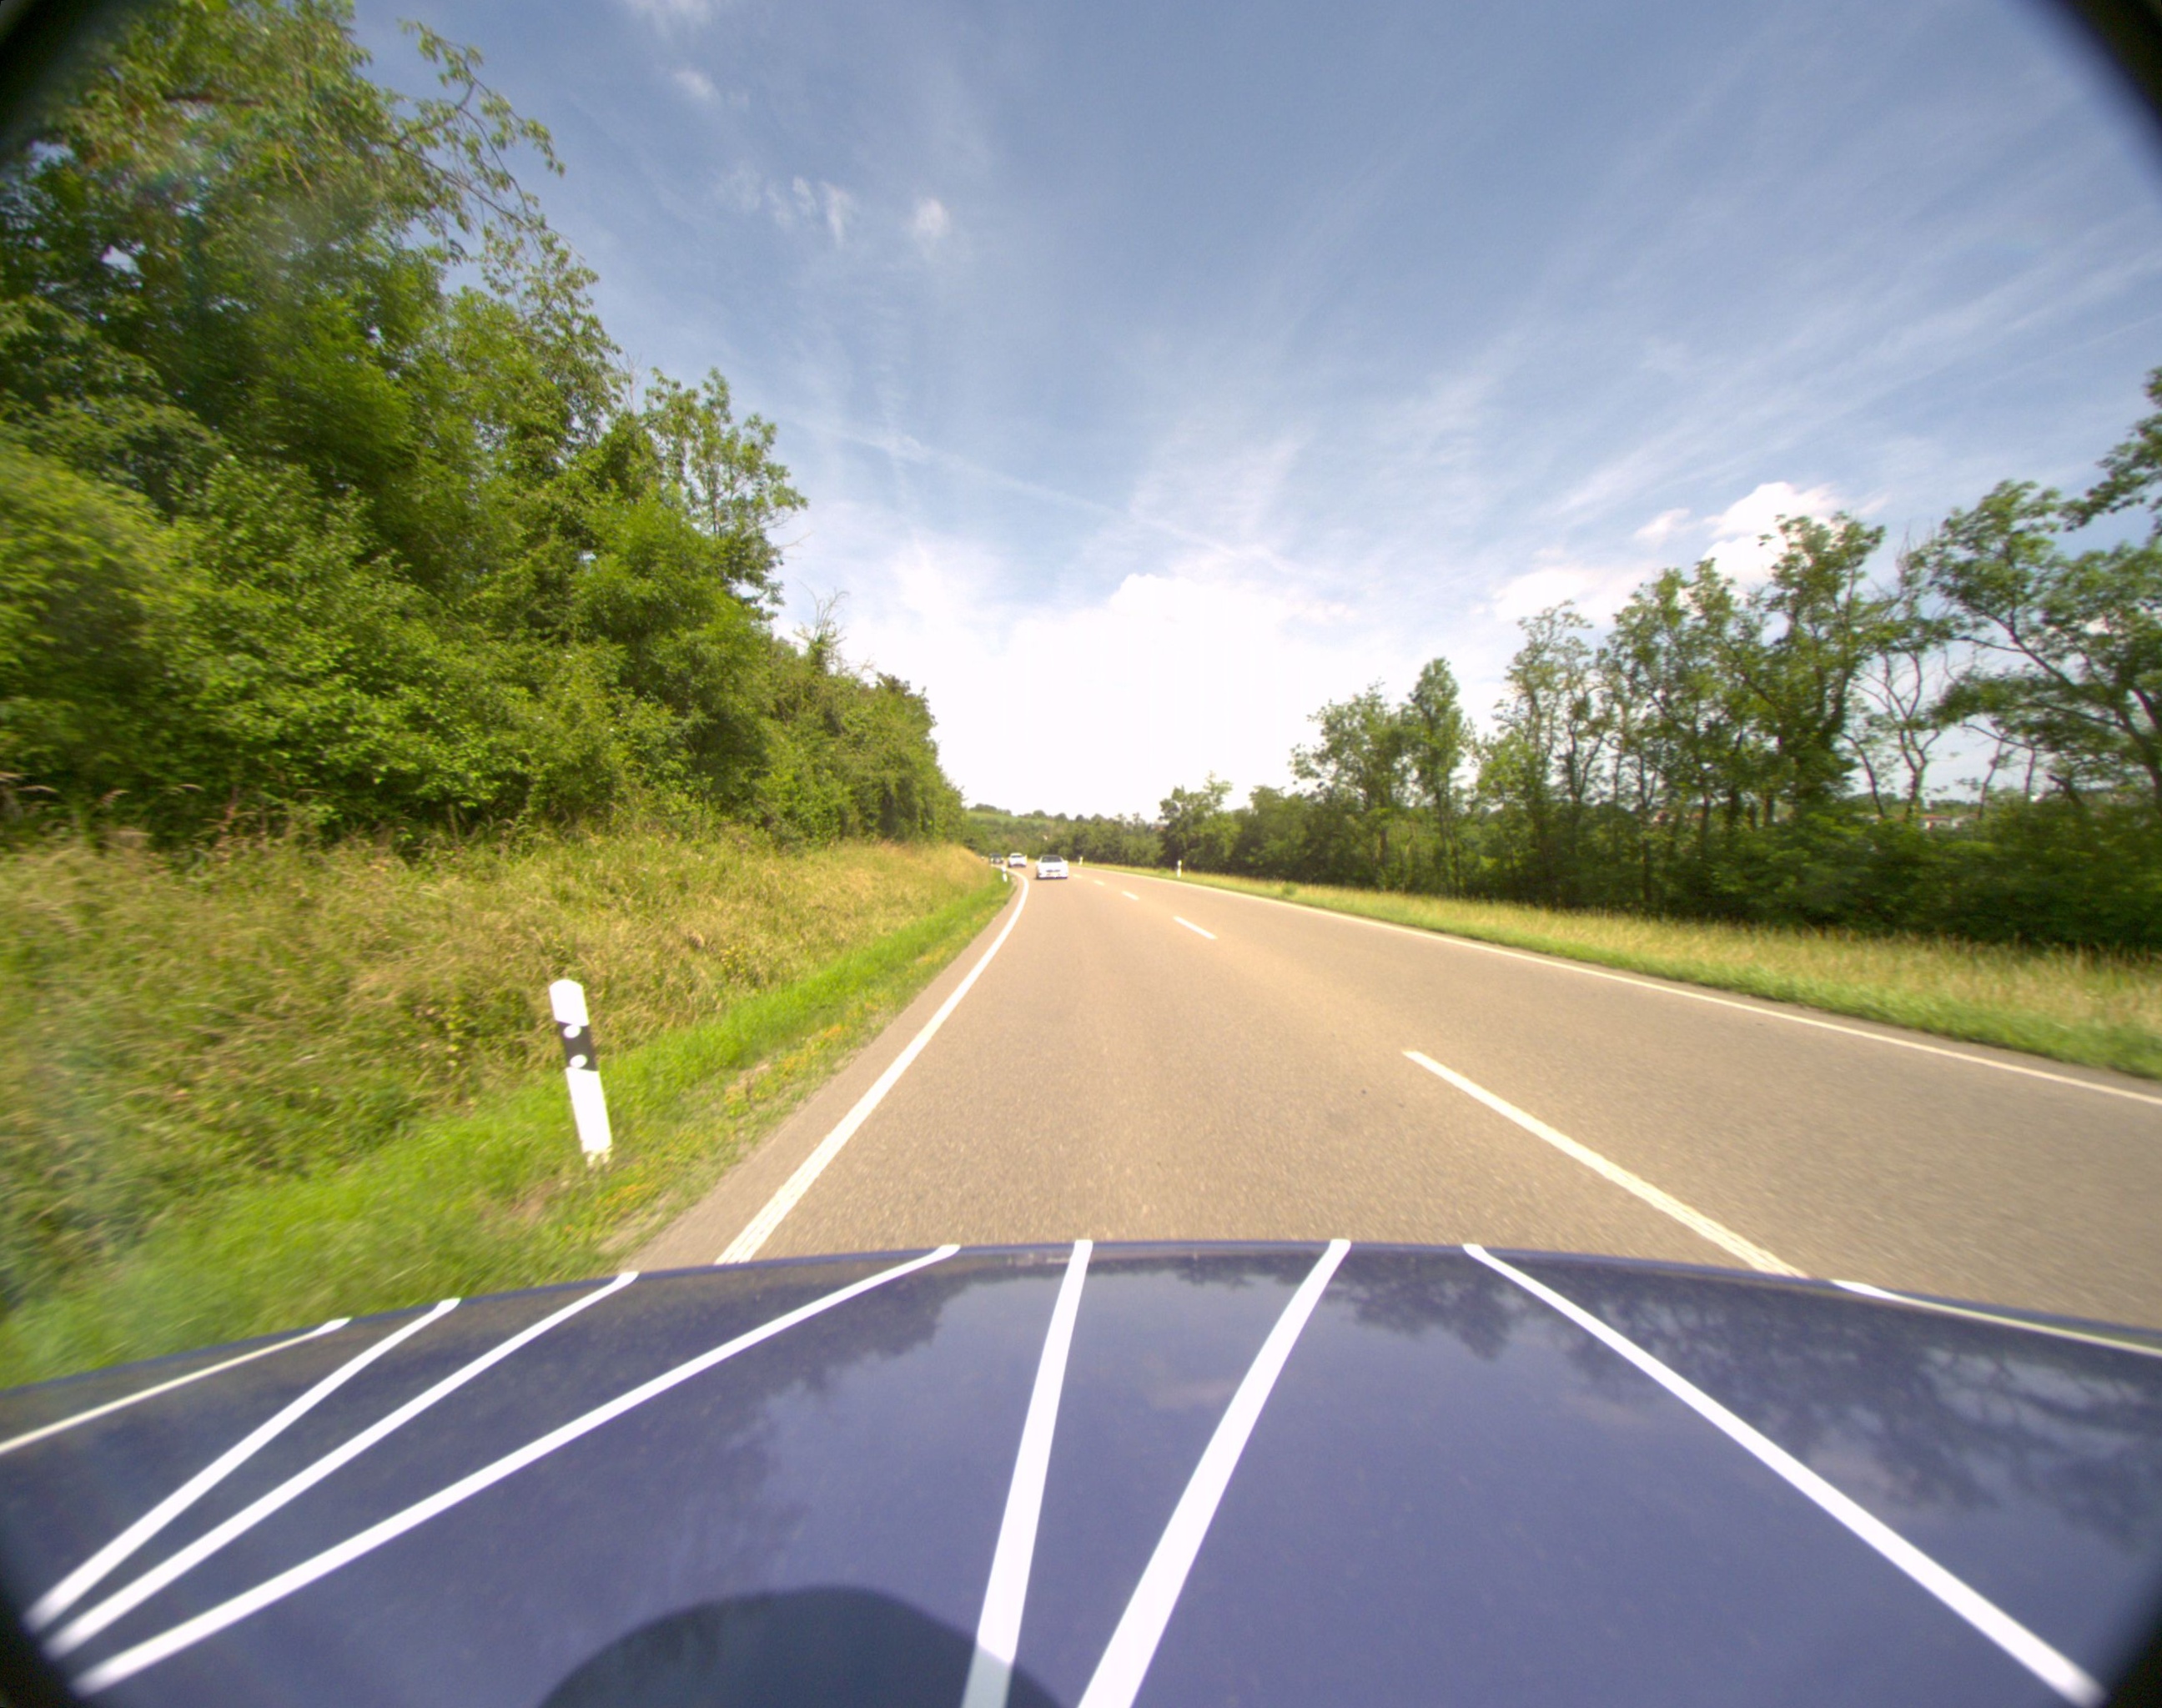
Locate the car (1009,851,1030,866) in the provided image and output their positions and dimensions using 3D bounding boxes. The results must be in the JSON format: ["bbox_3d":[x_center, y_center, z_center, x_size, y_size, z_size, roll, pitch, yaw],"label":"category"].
[{"bbox_3d":[-6.784,0.508,83.582,1.867,1.480,3.996,-3,1,-10],"label":"car"}]

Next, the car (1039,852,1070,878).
[{"bbox_3d":[-1.696,0.662,47.470,1.773,1.437,3.998,-2,1,-3],"label":"car"}]

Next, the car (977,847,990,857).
[{"bbox_3d":[-16.990,-0.425,131.980,1.668,1.641,3.994,2,0,-16],"label":"car"}]

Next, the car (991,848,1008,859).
[{"bbox_3d":[-11.765,-0.107,109.452,1.827,1.510,3.995,2,0,-13],"label":"car"}]
